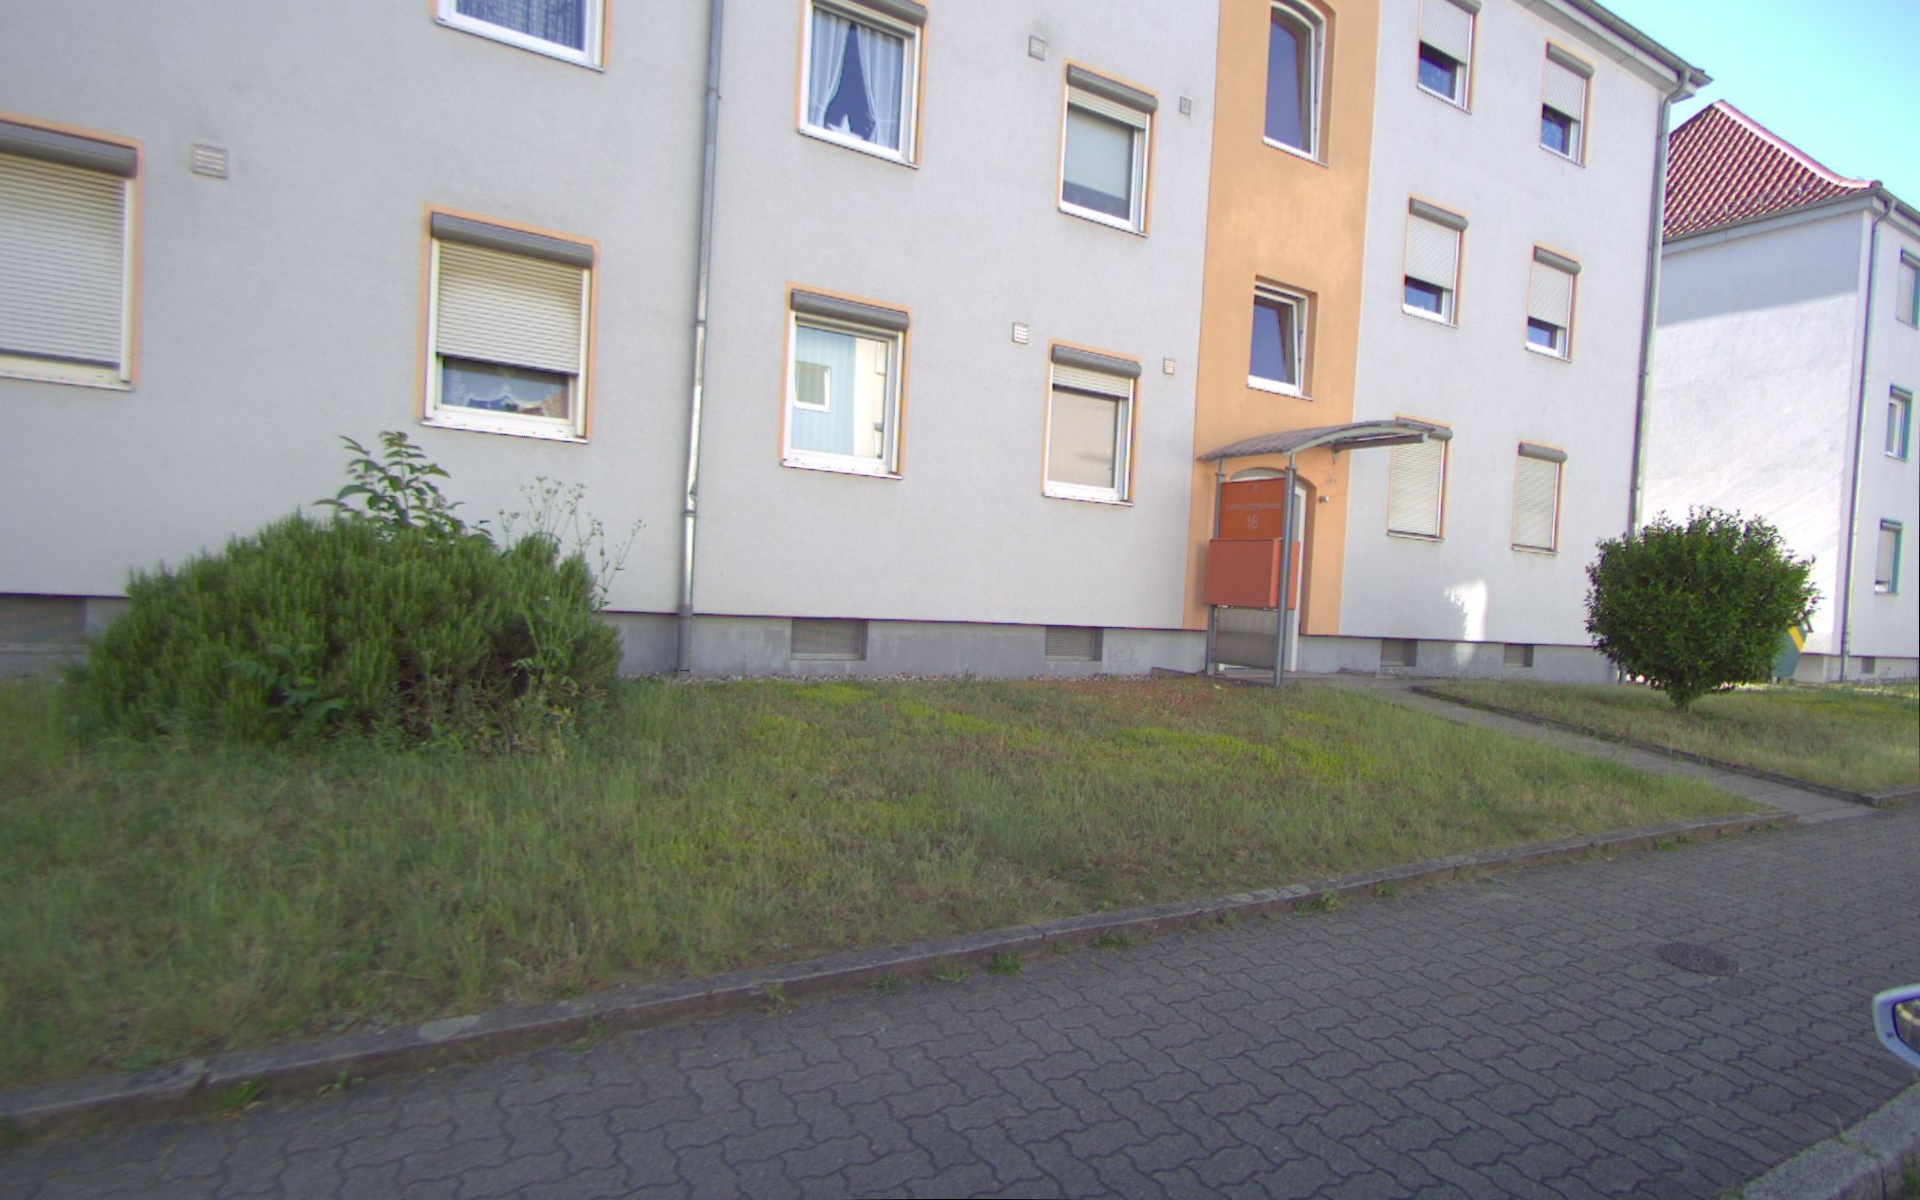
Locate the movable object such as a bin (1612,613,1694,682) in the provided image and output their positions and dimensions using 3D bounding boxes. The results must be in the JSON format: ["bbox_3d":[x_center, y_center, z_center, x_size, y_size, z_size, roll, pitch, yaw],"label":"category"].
[{"bbox_3d":[15.054,1.016,21.837,0.899,1.374,1.238,2,1,-41],"label":"movable object such as a bin"}]
